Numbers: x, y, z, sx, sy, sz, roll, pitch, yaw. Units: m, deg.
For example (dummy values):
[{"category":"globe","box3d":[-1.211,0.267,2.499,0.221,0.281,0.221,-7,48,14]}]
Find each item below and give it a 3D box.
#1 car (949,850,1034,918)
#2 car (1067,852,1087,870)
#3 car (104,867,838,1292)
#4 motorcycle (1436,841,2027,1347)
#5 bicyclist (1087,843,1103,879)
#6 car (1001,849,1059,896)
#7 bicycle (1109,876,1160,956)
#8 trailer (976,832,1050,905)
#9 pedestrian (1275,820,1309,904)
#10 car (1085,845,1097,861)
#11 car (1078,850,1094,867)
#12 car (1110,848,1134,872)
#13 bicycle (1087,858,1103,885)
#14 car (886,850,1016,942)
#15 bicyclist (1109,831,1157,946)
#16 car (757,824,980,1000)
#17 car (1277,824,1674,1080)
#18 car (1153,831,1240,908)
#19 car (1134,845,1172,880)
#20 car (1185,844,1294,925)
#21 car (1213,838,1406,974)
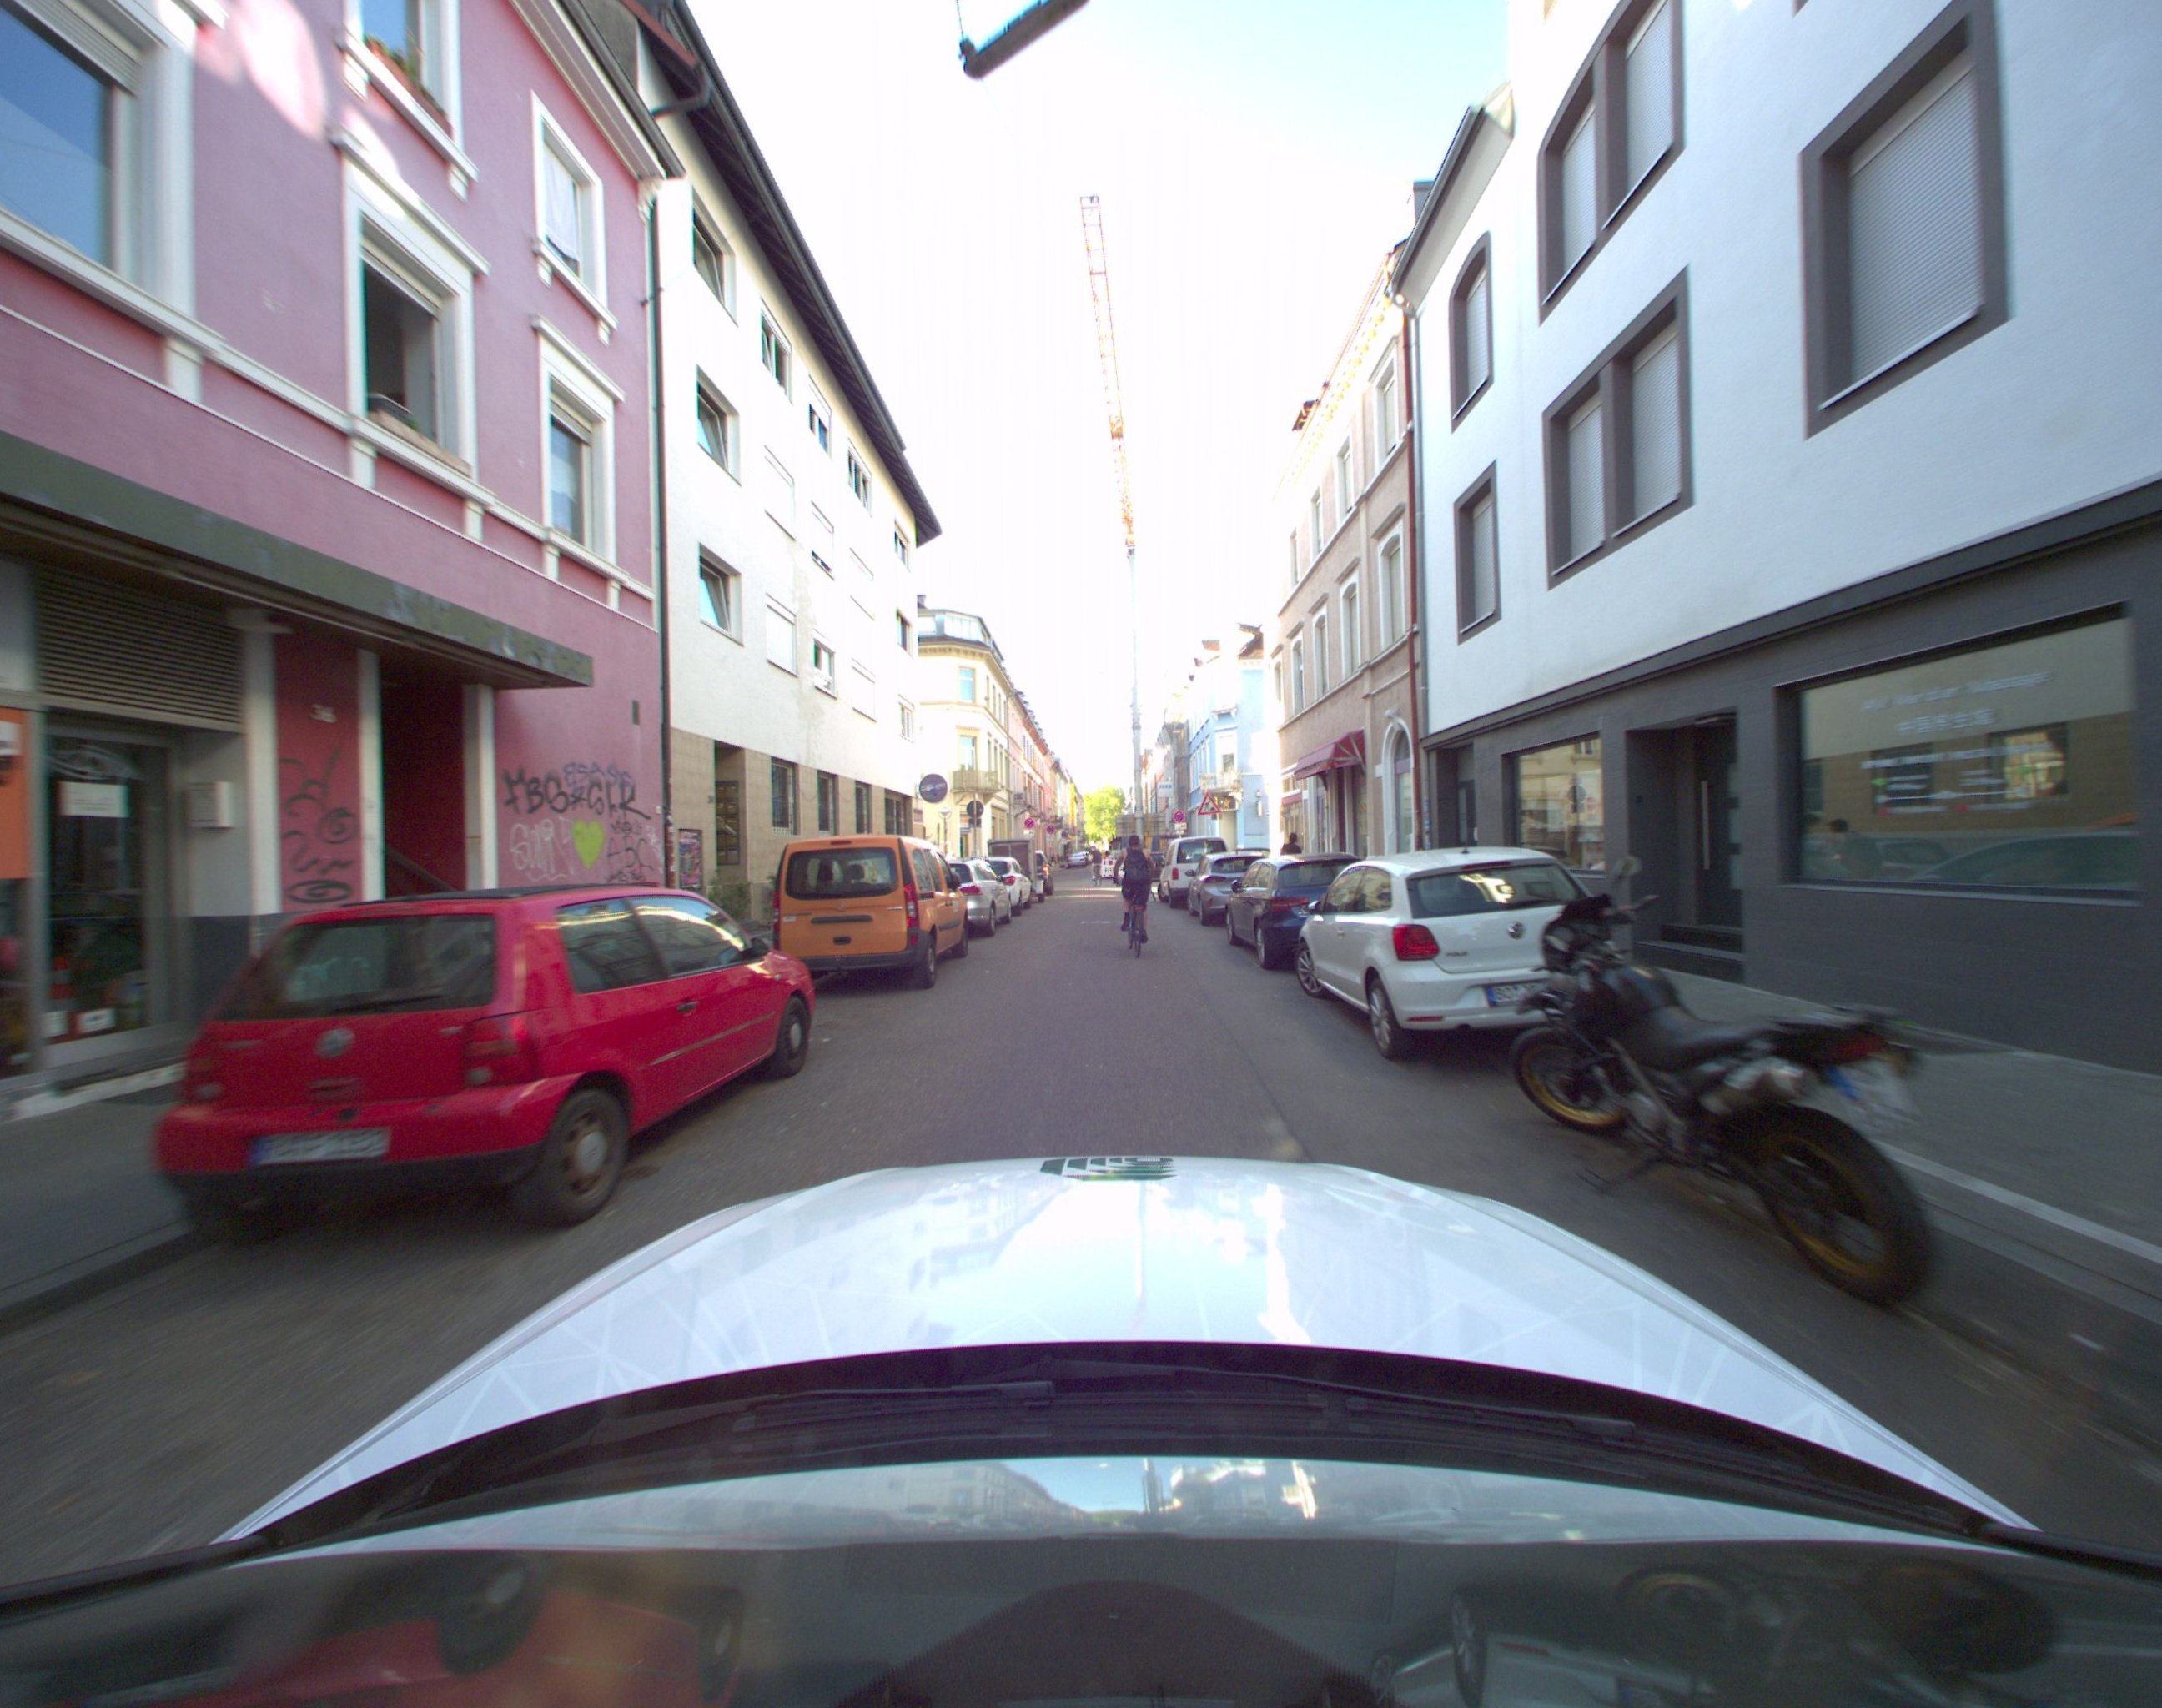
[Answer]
[{"category":"car","box3d":[-2.244,0.726,21.256,1.647,1.537,3.635,-3,0,1]},{"category":"car","box3d":[-0.402,0.669,79.400,1.744,1.683,3.797,-3,0,1]},{"category":"car","box3d":[-2.863,0.887,4.885,1.572,1.483,3.566,-3,0,1]},{"category":"motorcycle","box3d":[2.451,0.718,3.624,0.744,1.490,2.423,-1,0,2]},{"category":"bicyclist","box3d":[0.627,0.312,35.419,0.668,1.567,0.716,-1,-1,1]},{"category":"car","box3d":[-1.842,0.651,30.299,1.744,1.573,3.797,-3,0,1]},{"category":"bicycle","box3d":[0.790,0.906,12.489,0.674,1.074,1.942,-1,0,1]},{"category":"trailer","box3d":[-2.083,0.441,26.069,1.875,2.092,3.738,-3,0,1]},{"category":"pedestrian","box3d":[5.213,0.192,20.126,0.642,2.014,0.764,-1,-1,1]},{"category":"car","box3d":[1.578,-0.166,125.655,1.744,2.318,3.797,-3,0,1]},{"category":"car","box3d":[0.581,0.544,97.070,1.744,1.821,3.797,-3,0,1]},{"category":"car","box3d":[2.813,0.395,56.321,1.605,1.560,3.611,-1,0,1]},{"category":"bicycle","box3d":[0.630,0.750,35.210,0.646,1.129,2.136,-1,0,1]},{"category":"car","box3d":[-2.447,0.744,16.365,1.744,1.537,4.320,-3,0,1]},{"category":"bicyclist","box3d":[0.782,0.510,12.520,0.665,1.676,1.097,-1,-1,1]},{"category":"car","box3d":[-2.576,0.647,10.927,1.746,1.816,4.079,-4,-1,1]},{"category":"car","box3d":[2.961,0.633,7.092,1.660,1.505,3.819,-5,0,3]},{"category":"car","box3d":[3.122,0.397,22.675,1.745,1.878,3.971,-3,0,-1]},{"category":"car","box3d":[3.499,0.416,40.141,1.605,1.633,3.611,-1,0,1]},{"category":"car","box3d":[3.299,0.604,17.604,1.743,1.487,3.803,-3,0,3]},{"category":"car","box3d":[3.066,0.638,11.759,1.640,1.475,3.972,-6,-1,1]}]
